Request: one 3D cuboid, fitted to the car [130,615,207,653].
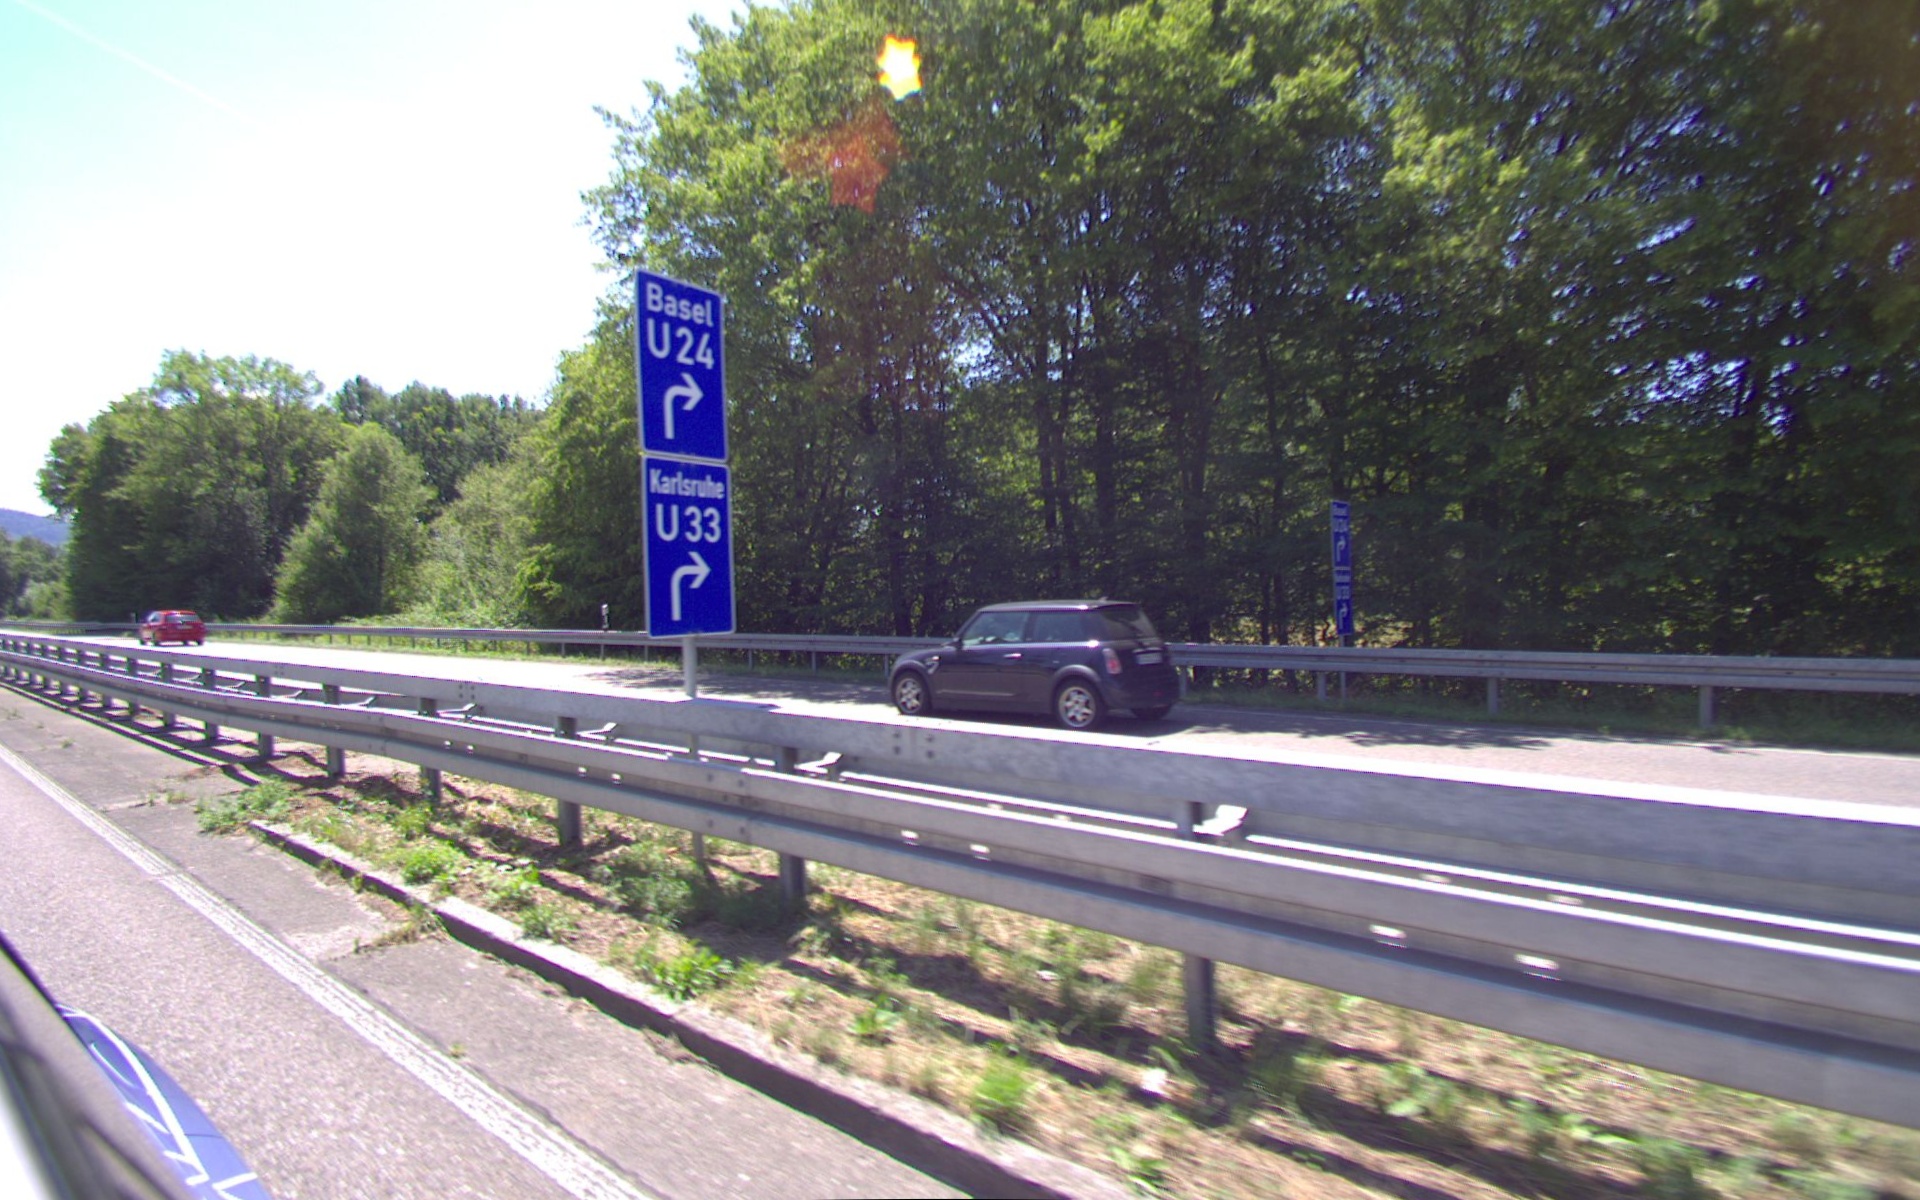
[{"bbox_3d":[-32.567,1.357,41.602,4.575,1.429,1.757,-1,0,43],"label":"car"}]

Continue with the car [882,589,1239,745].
[{"bbox_3d":[1.059,0.666,11.686,3.772,1.479,1.779,-1,0,42],"label":"car"}]
